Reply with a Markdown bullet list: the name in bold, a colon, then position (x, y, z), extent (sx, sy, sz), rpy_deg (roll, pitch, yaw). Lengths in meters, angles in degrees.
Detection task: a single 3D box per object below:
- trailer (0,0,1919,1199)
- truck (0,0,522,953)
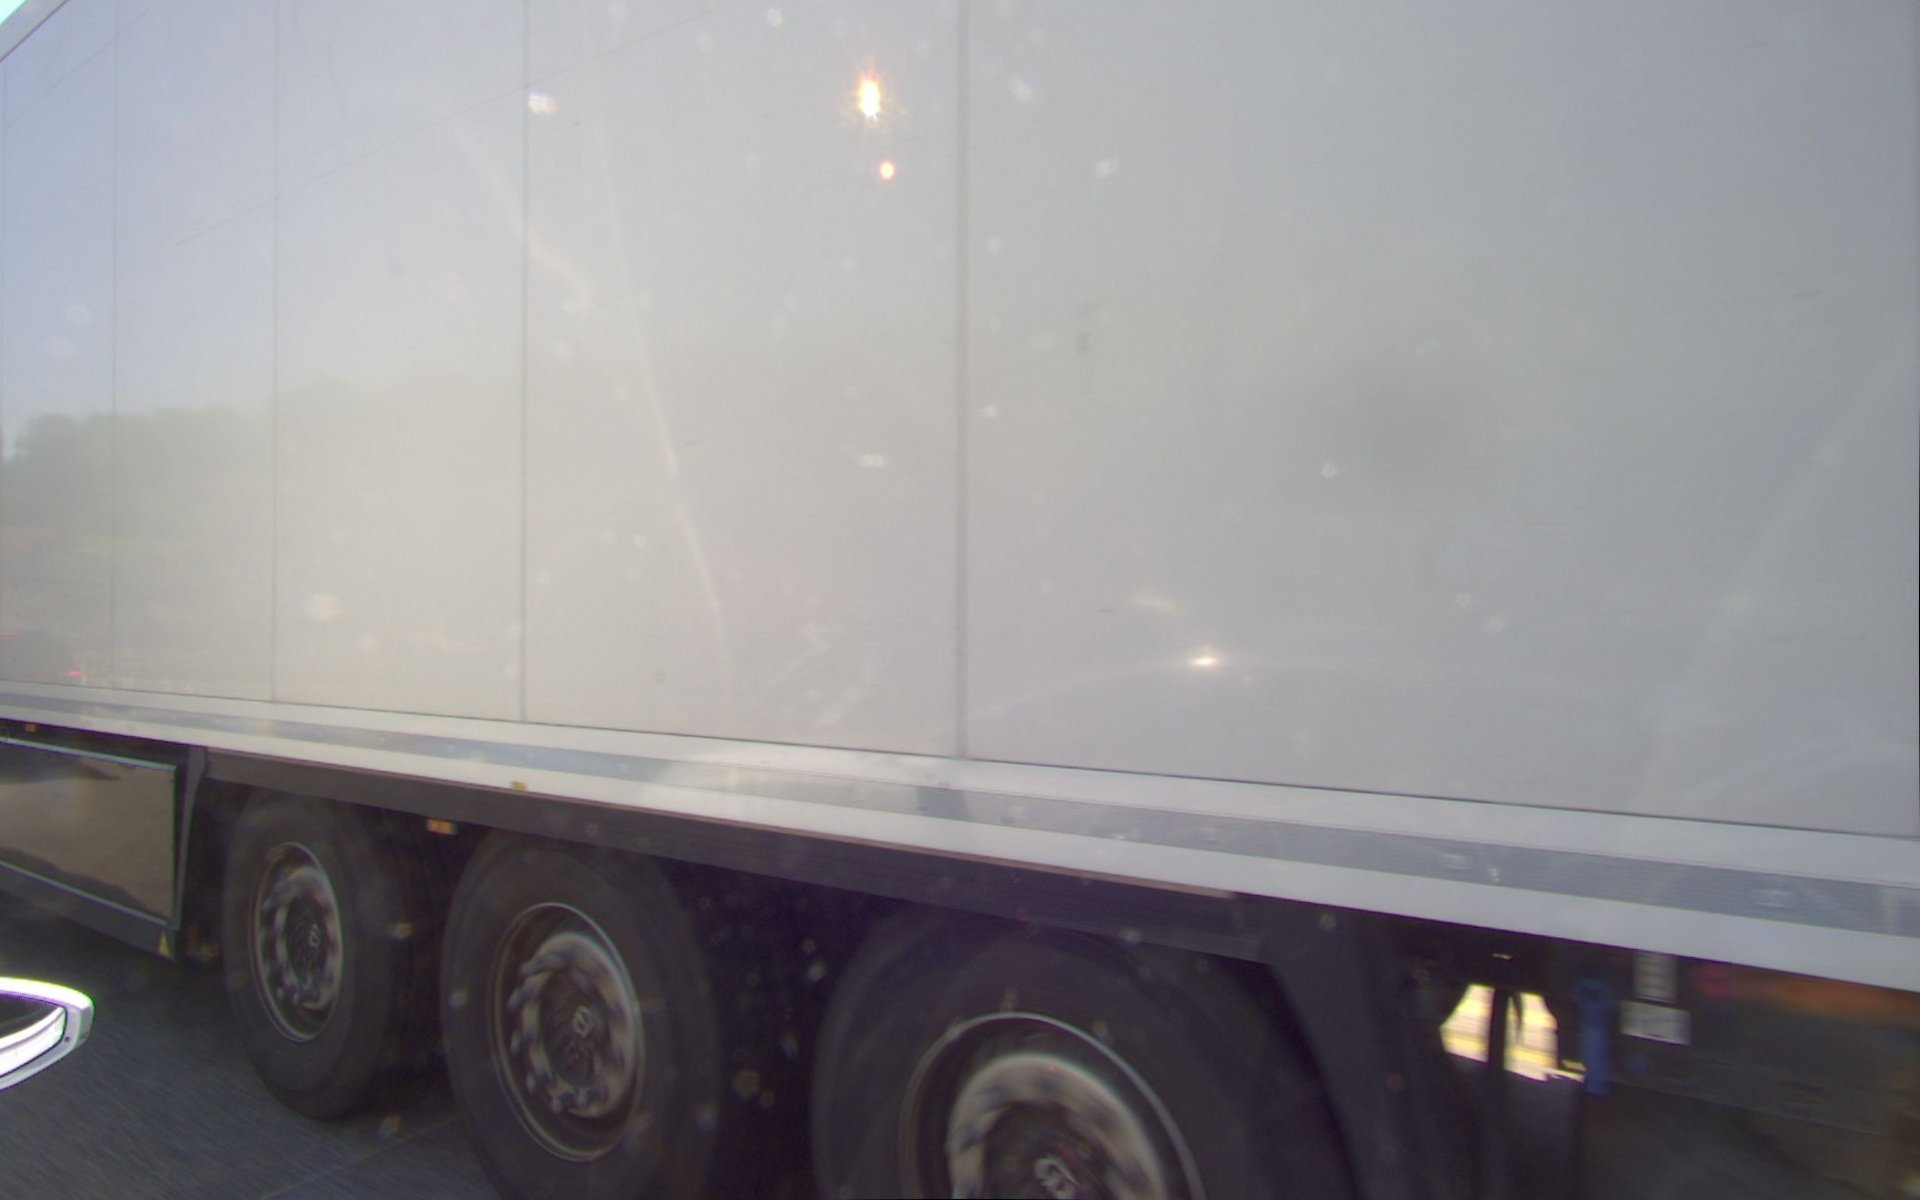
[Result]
- **trailer**: position (-0.764, -0.685, 3.542), extent (11.384, 4.179, 2.528), rpy_deg (-1, -2, 32)
- **truck**: position (-6.878, -0.417, 7.449), extent (8.121, 4.076, 2.509), rpy_deg (-1, -2, 32)
